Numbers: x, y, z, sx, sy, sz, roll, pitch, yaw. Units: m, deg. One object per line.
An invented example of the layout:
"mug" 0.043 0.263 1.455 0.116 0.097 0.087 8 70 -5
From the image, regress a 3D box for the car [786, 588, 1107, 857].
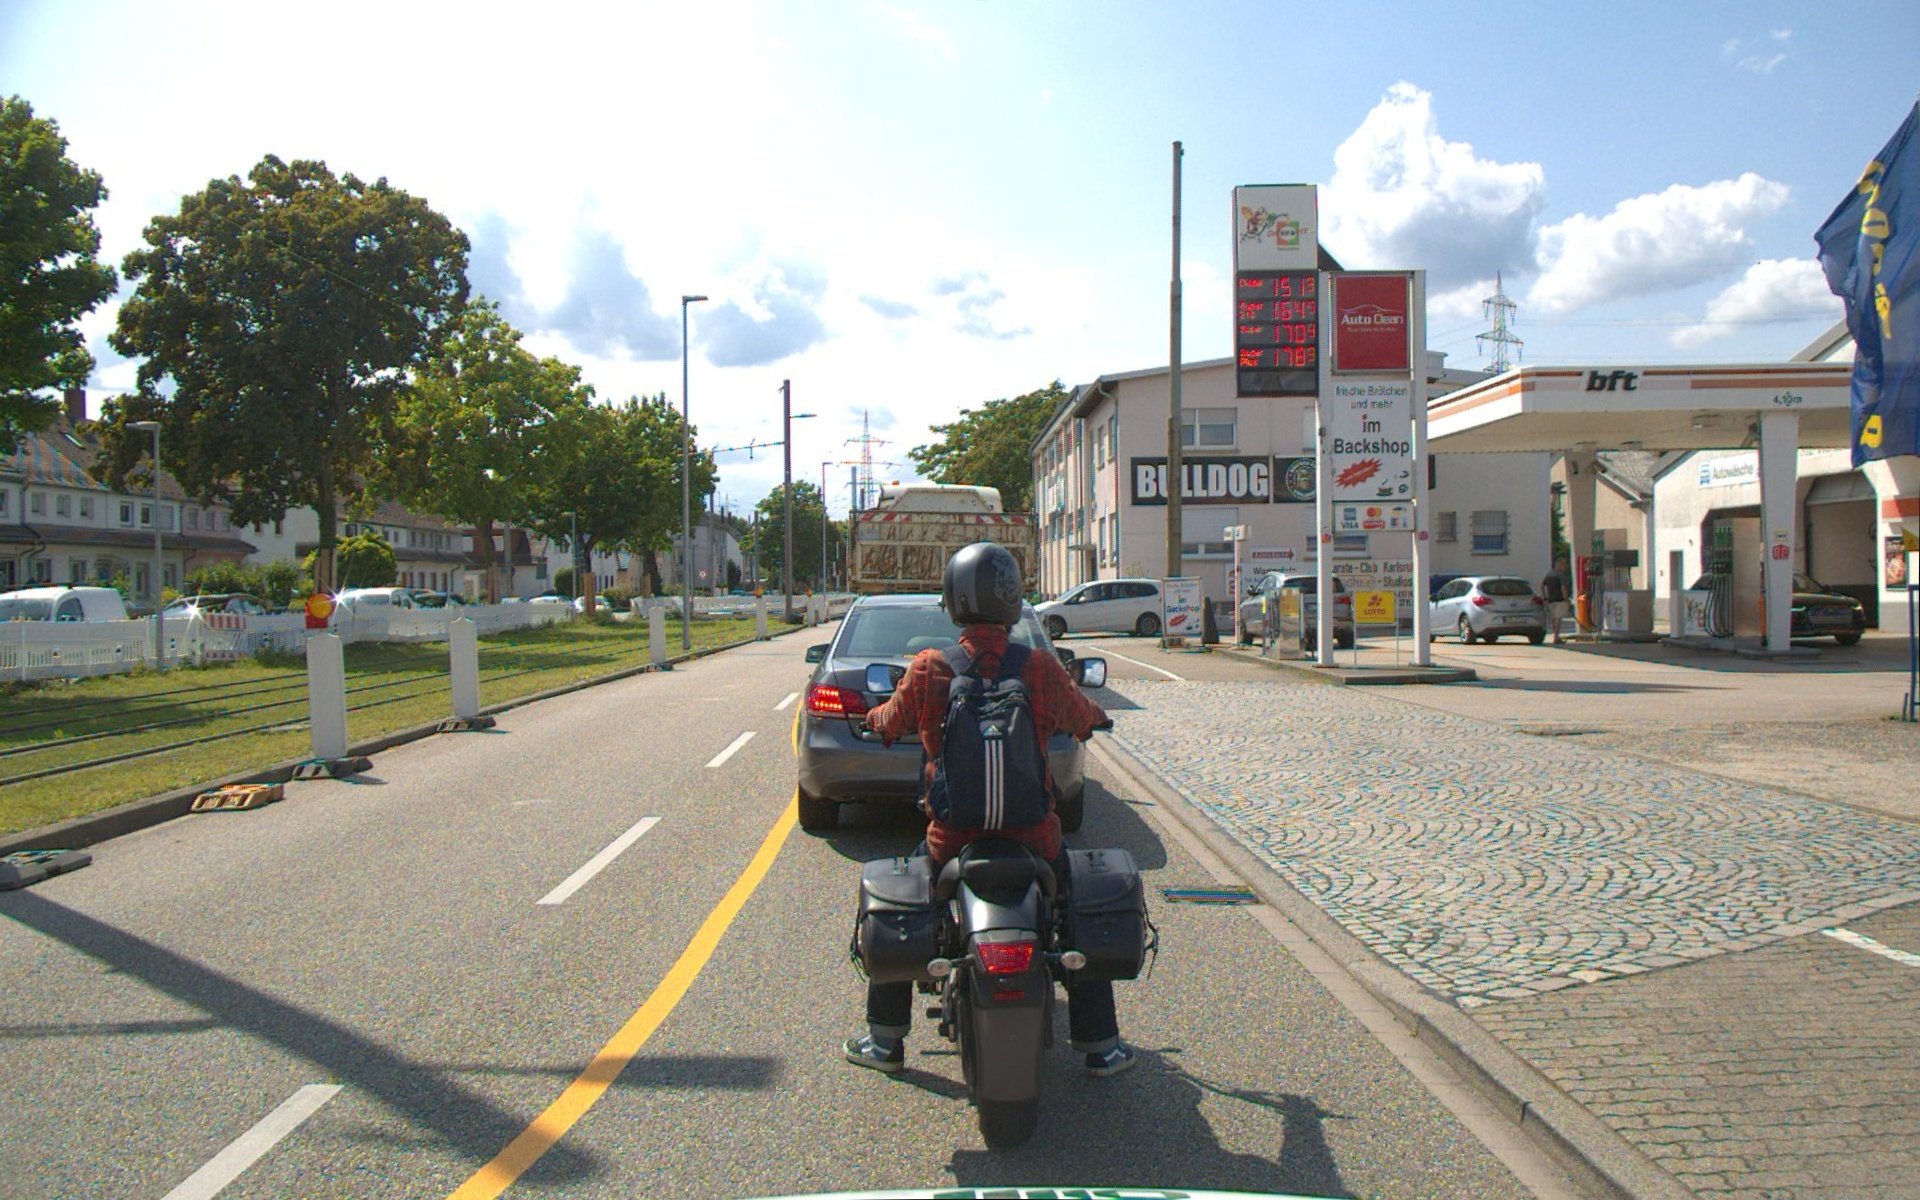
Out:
"car" -0.103 0.678 11.320 1.786 1.478 3.999 1 0 -1

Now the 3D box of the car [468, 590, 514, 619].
"car" -29.431 0.274 103.952 1.740 1.753 4.127 -1 0 -1

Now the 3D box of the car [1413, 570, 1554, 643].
"car" 11.714 0.119 37.265 1.770 1.529 3.831 -1 0 -3

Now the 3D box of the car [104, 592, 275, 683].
"car" -16.681 0.763 36.025 1.740 1.805 4.227 -1 0 -1

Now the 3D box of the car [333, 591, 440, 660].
"car" -16.947 0.713 49.082 1.740 1.900 4.127 -1 0 -1

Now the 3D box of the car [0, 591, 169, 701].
"car" -16.450 0.781 30.389 1.740 1.853 4.363 -1 0 -1

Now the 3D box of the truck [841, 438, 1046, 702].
"truck" -0.270 -0.425 25.365 2.585 3.354 8.055 -1 0 -1

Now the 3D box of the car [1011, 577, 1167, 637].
"car" 3.638 0.182 47.047 4.152 1.570 1.669 -1 0 -9

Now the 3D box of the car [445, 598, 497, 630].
"car" -28.305 0.777 95.835 1.740 1.753 4.127 -1 0 -1

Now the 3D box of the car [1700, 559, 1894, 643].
"car" 16.517 0.002 32.849 1.770 1.529 3.832 -1 0 -3

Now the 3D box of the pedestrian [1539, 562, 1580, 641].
"pedestrian" 12.946 0.030 35.712 0.696 1.685 0.546 -1 0 35

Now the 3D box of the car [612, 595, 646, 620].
"car" -24.969 0.548 124.852 1.740 1.753 4.127 -1 0 -1

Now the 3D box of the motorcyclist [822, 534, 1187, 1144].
"motorcyclist" 0.113 0.640 5.017 0.959 1.630 1.087 -1 0 -1

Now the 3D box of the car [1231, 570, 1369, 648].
"car" 7.450 0.175 36.630 1.636 1.589 4.236 -1 0 -8

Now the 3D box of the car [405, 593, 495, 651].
"car" -16.979 0.697 55.261 1.740 1.837 4.127 -1 0 -1

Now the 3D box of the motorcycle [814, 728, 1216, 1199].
"motorcycle" 0.115 0.994 5.323 0.959 0.913 2.653 -1 0 -1

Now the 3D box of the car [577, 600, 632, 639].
"car" -17.060 0.910 79.509 1.740 1.753 4.127 -1 0 -1
